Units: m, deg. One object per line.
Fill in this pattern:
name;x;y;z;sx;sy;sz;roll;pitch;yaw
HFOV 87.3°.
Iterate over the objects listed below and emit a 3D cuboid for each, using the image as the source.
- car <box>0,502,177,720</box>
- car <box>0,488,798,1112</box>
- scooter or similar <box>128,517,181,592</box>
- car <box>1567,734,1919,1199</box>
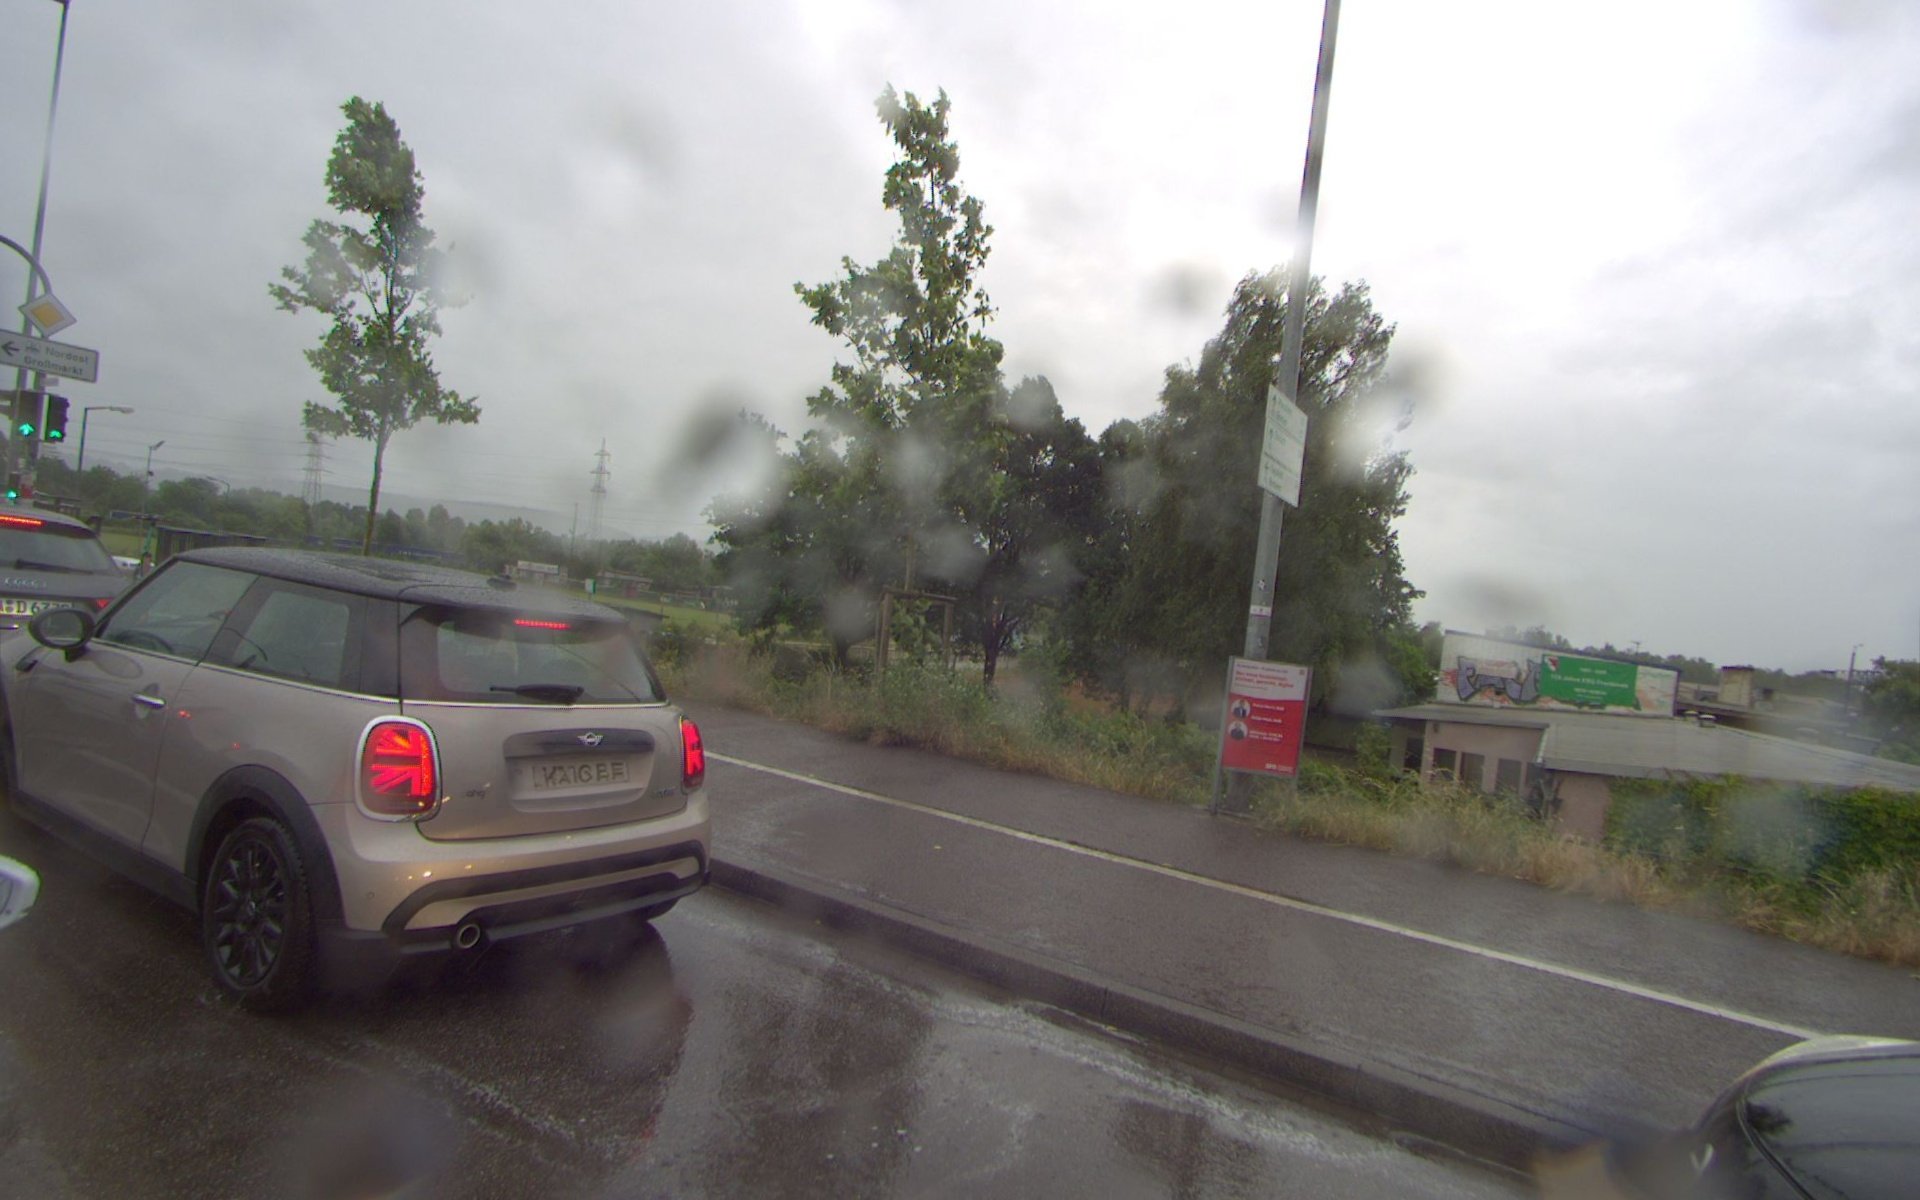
car;-7.481;-0.089;7.232;3.563;1.360;1.632;6;-2;31
car;-2.704;0.491;4.300;3.563;1.525;1.717;7;-2;31
scooter or similar;-13.682;-0.776;17.081;1.167;1.171;0.246;6;-1;33
car;2.797;1.185;1.056;3.563;1.445;1.632;7;-1;31
